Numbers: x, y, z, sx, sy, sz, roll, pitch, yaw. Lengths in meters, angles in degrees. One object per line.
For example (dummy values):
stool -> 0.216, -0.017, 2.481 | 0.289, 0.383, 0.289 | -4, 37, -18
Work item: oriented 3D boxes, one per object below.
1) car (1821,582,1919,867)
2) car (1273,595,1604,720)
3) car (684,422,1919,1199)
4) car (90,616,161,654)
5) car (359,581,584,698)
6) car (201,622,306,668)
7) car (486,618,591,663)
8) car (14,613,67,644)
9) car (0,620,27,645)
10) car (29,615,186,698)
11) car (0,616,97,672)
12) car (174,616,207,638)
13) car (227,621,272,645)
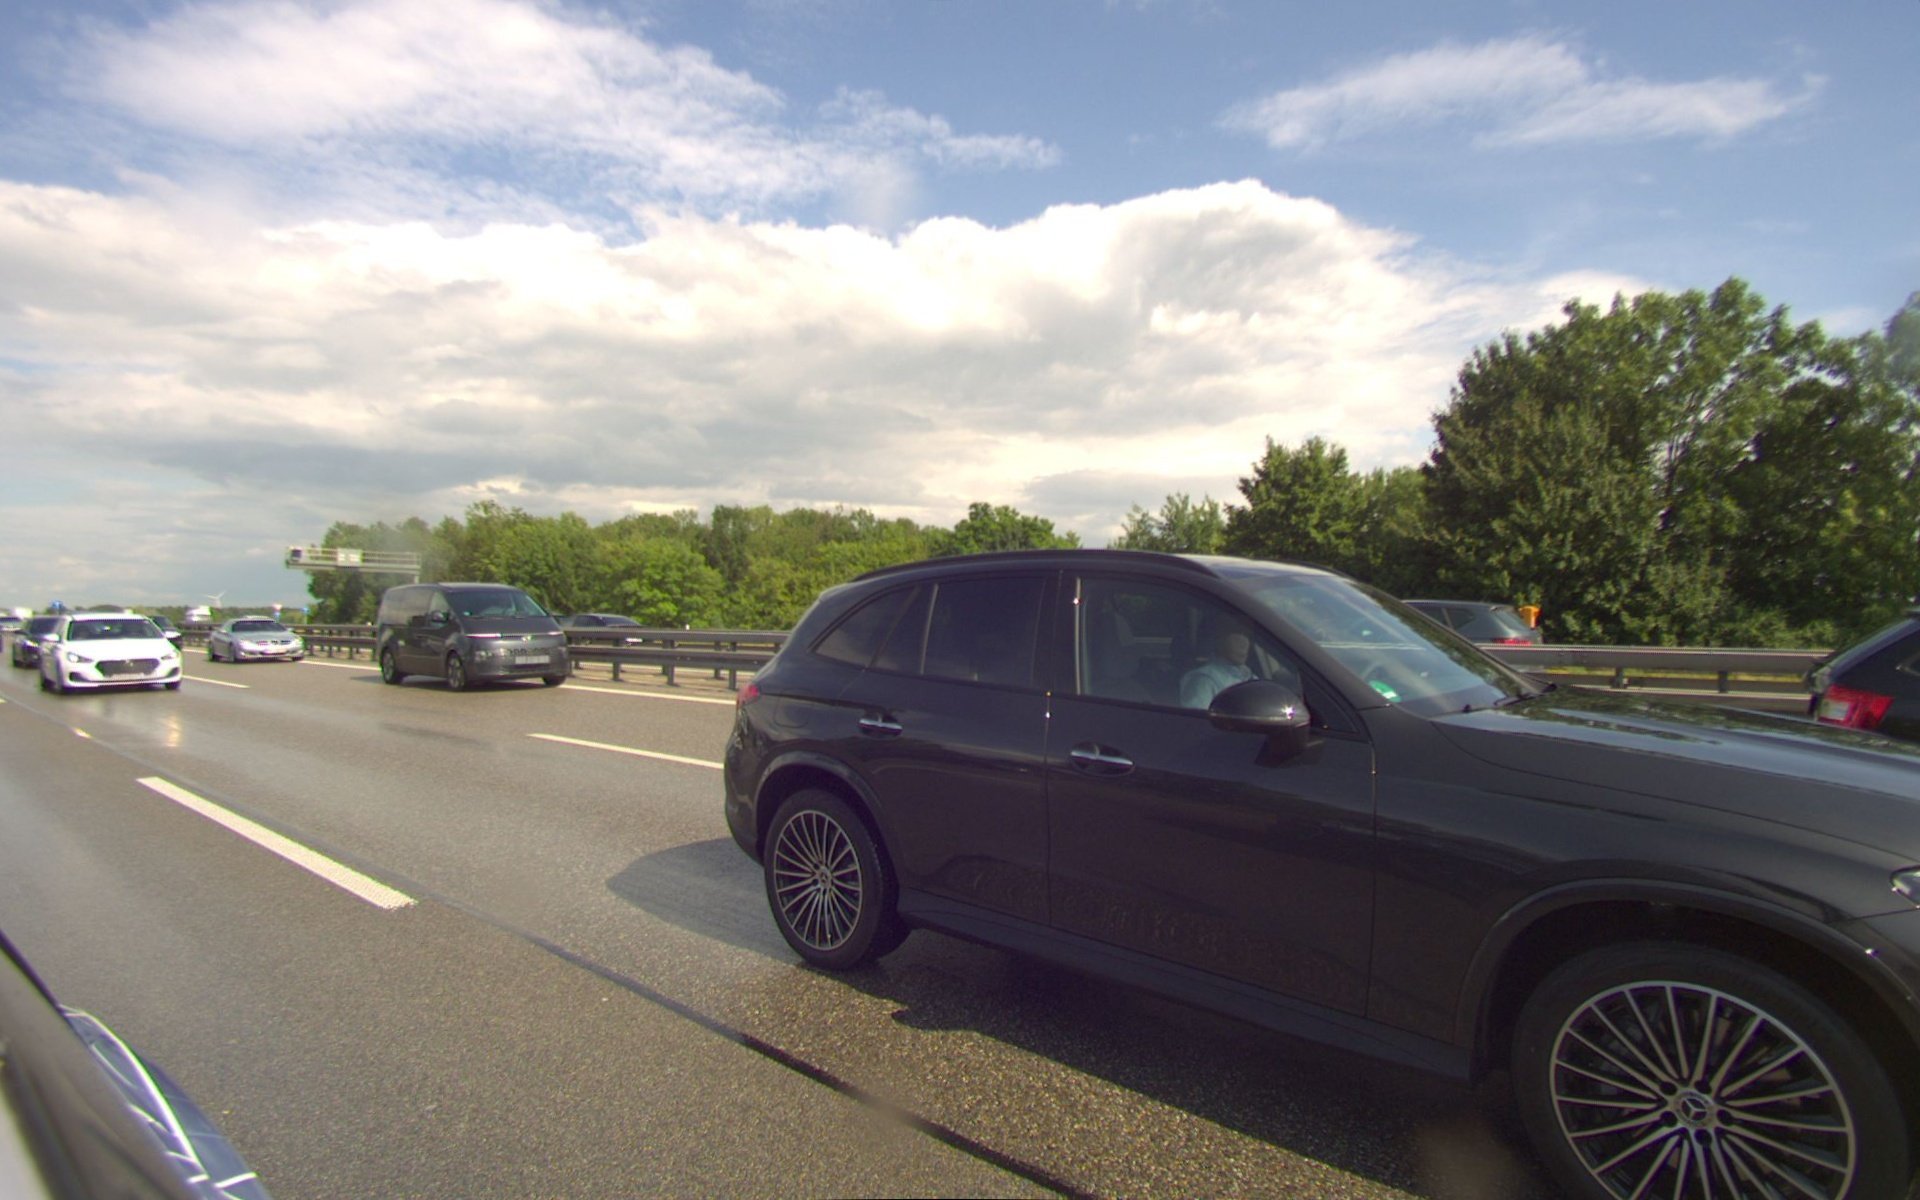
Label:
car -> 6.832, 0.603, 4.629 | 4.370, 1.435, 1.900 | -1, -1, 41
car -> 6.817, 0.744, 14.644 | 3.998, 1.556, 1.781 | -1, -1, 41
car -> 1.098, 0.545, 3.676 | 4.625, 1.692, 1.856 | -1, -1, 42
car -> -33.182, 1.360, 40.205 | 3.999, 1.431, 1.597 | -1, -1, 42
car -> -9.384, 0.684, 19.214 | 5.233, 1.932, 1.973 | -1, -1, 41
car -> -20.701, 1.275, 29.604 | 3.583, 1.198, 1.832 | -1, -1, 43
car -> -17.038, 1.597, 40.800 | 4.823, 1.697, 1.973 | -1, -1, 41
car -> -54.720, 1.670, 60.195 | 3.997, 1.763, 1.876 | -1, -1, 41
car -> -70.224, 2.367, 74.486 | 3.997, 1.763, 1.876 | -1, -1, 41
car -> -16.450, 1.011, 19.456 | 4.239, 1.408, 1.785 | -1, -1, 42
car -> -25.298, 1.168, 28.021 | 3.998, 1.409, 1.577 | -1, -1, 41
car -> -74.523, 2.598, 97.942 | 4.365, 2.029, 1.971 | -1, -1, 45
car -> -50.172, 2.304, 71.417 | 3.808, 1.663, 1.716 | -1, -1, 40
